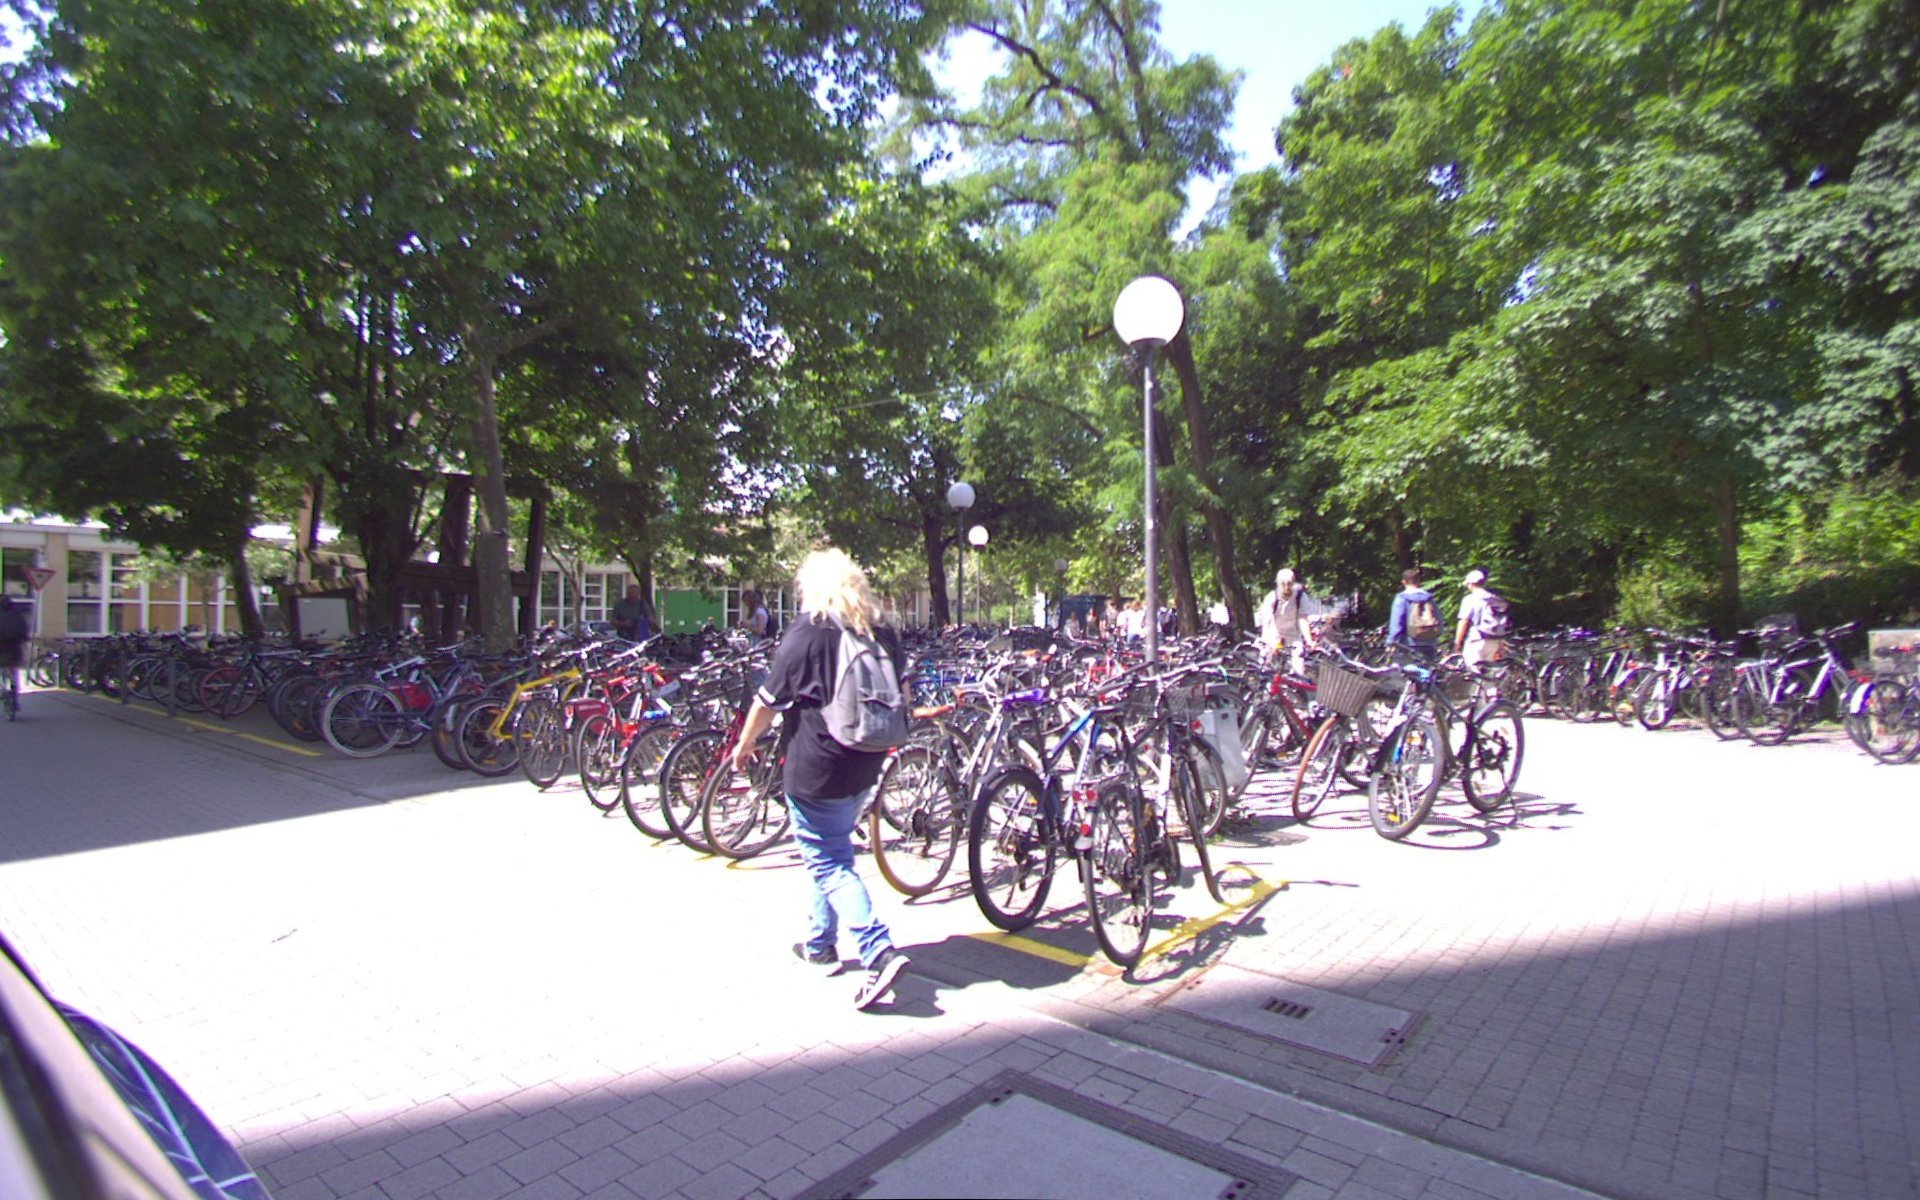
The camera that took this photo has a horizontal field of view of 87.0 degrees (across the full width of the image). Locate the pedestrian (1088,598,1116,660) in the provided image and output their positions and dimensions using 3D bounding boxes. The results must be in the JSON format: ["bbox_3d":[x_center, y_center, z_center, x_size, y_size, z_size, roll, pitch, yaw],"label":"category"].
[{"bbox_3d":[4.157,0.849,29.761,0.761,1.788,0.905,-1,-1,7],"label":"pedestrian"}]

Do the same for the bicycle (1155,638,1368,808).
[{"bbox_3d":[2.243,0.854,7.461,1.670,1.092,0.475,0,0,-30],"label":"bicycle"}]

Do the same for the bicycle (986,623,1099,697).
[{"bbox_3d":[1.280,0.919,15.742,1.671,1.092,0.475,0,0,-14],"label":"bicycle"}]

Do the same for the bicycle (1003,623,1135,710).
[{"bbox_3d":[1.447,0.865,13.451,1.671,1.092,0.475,0,0,-14],"label":"bicycle"}]

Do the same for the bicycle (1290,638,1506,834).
[{"bbox_3d":[2.903,0.827,6.635,1.695,1.092,0.475,0,0,-35],"label":"bicycle"}]

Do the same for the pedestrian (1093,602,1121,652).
[{"bbox_3d":[5.361,0.977,36.892,0.765,1.788,0.900,-1,-1,22],"label":"pedestrian"}]

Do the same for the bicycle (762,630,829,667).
[{"bbox_3d":[-5.128,1.512,31.633,2.006,1.116,0.501,-1,0,8],"label":"bicycle"}]

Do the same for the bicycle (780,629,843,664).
[{"bbox_3d":[-4.894,1.536,33.435,2.010,1.116,0.500,-1,0,14],"label":"bicycle"}]

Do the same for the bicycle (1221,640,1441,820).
[{"bbox_3d":[2.620,0.851,7.077,1.670,1.092,0.475,0,0,-30],"label":"bicycle"}]

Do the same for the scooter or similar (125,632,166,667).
[{"bbox_3d":[-29.827,1.800,37.056,0.289,1.235,1.142,-2,-2,43],"label":"scooter or similar"}]

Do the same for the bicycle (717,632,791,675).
[{"bbox_3d":[-5.476,1.412,26.967,1.886,1.116,0.501,-1,0,11],"label":"bicycle"}]

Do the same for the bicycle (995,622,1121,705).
[{"bbox_3d":[1.369,0.876,14.163,1.671,1.092,0.475,0,0,-14],"label":"bicycle"}]

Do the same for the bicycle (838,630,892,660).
[{"bbox_3d":[-3.611,1.699,38.577,2.010,1.116,0.500,-1,0,14],"label":"bicycle"}]

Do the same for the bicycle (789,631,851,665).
[{"bbox_3d":[-4.695,1.606,33.939,2.010,1.116,0.500,-1,0,14],"label":"bicycle"}]

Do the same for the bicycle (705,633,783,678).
[{"bbox_3d":[-5.497,1.416,25.771,1.886,1.116,0.501,-1,0,11],"label":"bicycle"}]

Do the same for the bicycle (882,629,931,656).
[{"bbox_3d":[-2.253,1.771,42.242,2.016,1.116,0.499,-1,0,22],"label":"bicycle"}]

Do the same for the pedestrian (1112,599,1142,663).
[{"bbox_3d":[4.739,0.876,28.784,0.761,1.788,0.905,-1,-1,7],"label":"pedestrian"}]

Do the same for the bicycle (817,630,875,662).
[{"bbox_3d":[-4.064,1.639,36.184,2.010,1.116,0.500,-1,0,14],"label":"bicycle"}]

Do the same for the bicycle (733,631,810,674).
[{"bbox_3d":[-5.112,1.417,27.448,1.983,1.116,0.501,-1,0,11],"label":"bicycle"}]

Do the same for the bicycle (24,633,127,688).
[{"bbox_3d":[-18.963,1.292,21.717,0.496,1.116,1.608,-4,-3,40],"label":"bicycle"}]

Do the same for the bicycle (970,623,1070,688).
[{"bbox_3d":[1.044,0.957,17.640,1.673,1.092,0.475,-1,0,-7],"label":"bicycle"}]

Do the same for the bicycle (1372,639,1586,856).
[{"bbox_3d":[3.205,0.827,6.186,1.672,1.118,0.475,0,0,-37],"label":"bicycle"}]

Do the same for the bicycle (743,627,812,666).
[{"bbox_3d":[-5.403,1.366,29.981,1.983,1.116,0.501,-1,0,11],"label":"bicycle"}]

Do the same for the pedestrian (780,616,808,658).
[{"bbox_3d":[-6.775,1.511,41.217,0.727,1.697,0.863,-2,-2,37],"label":"pedestrian"}]

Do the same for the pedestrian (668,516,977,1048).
[{"bbox_3d":[-0.456,0.583,3.691,0.897,1.692,0.767,-1,0,11],"label":"pedestrian"}]

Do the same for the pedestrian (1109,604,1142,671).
[{"bbox_3d":[4.267,0.956,26.150,0.761,1.692,0.905,-1,-1,7],"label":"pedestrian"}]

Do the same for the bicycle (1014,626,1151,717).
[{"bbox_3d":[1.569,0.898,12.971,1.671,1.092,0.475,0,0,-14],"label":"bicycle"}]

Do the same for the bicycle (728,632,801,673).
[{"bbox_3d":[-5.533,1.480,28.632,1.983,1.116,0.501,-1,0,11],"label":"bicycle"}]

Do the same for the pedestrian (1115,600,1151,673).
[{"bbox_3d":[4.139,0.864,24.294,0.761,1.692,0.905,-1,-1,7],"label":"pedestrian"}]

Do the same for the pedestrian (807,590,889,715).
[{"bbox_3d":[-1.597,0.727,14.475,0.902,1.716,0.763,-1,-1,26],"label":"pedestrian"}]

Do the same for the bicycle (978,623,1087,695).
[{"bbox_3d":[1.160,0.934,16.241,1.671,1.092,0.475,0,0,-14],"label":"bicycle"}]

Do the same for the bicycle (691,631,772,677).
[{"bbox_3d":[-5.663,1.329,25.111,1.884,1.116,0.502,-1,0,8],"label":"bicycle"}]

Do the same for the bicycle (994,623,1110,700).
[{"bbox_3d":[1.385,0.912,15.225,1.671,1.092,0.475,0,0,-14],"label":"bicycle"}]

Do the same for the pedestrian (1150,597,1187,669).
[{"bbox_3d":[4.984,0.784,24.208,0.761,1.692,0.905,-1,-1,7],"label":"pedestrian"}]

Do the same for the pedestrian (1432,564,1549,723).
[{"bbox_3d":[6.326,0.498,12.119,0.757,1.817,0.986,-1,-1,-11],"label":"pedestrian"}]

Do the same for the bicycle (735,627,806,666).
[{"bbox_3d":[-5.513,1.346,29.396,1.983,1.116,0.501,-1,0,11],"label":"bicycle"}]

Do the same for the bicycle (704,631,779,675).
[{"bbox_3d":[-5.689,1.385,26.357,1.886,1.116,0.501,-1,0,11],"label":"bicycle"}]

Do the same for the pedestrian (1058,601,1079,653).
[{"bbox_3d":[3.777,0.941,35.261,0.501,1.784,0.664,-1,-1,30],"label":"pedestrian"}]

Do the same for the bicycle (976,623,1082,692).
[{"bbox_3d":[1.148,0.945,16.854,1.671,1.092,0.475,0,0,-14],"label":"bicycle"}]

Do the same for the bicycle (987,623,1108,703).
[{"bbox_3d":[1.265,0.897,14.641,1.671,1.092,0.475,0,0,-14],"label":"bicycle"}]

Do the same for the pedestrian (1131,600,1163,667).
[{"bbox_3d":[5.088,0.911,27.612,0.761,1.788,0.905,-1,-1,7],"label":"pedestrian"}]

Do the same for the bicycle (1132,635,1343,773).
[{"bbox_3d":[2.367,0.869,8.672,1.672,1.092,0.475,-1,0,-8],"label":"bicycle"}]

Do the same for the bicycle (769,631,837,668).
[{"bbox_3d":[-4.828,1.519,31.057,2.006,1.116,0.501,-1,0,8],"label":"bicycle"}]

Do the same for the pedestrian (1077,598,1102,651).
[{"bbox_3d":[4.462,0.845,34.823,0.608,1.788,0.652,-1,-1,33],"label":"pedestrian"}]

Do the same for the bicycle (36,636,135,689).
[{"bbox_3d":[-19.449,1.376,22.525,0.496,1.116,1.608,-4,-3,40],"label":"bicycle"}]

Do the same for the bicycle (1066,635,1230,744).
[{"bbox_3d":[2.024,0.945,10.937,1.672,1.092,0.475,-1,0,-11],"label":"bicycle"}]

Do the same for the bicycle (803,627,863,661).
[{"bbox_3d":[-4.416,1.522,35.093,2.010,1.116,0.500,-1,0,14],"label":"bicycle"}]

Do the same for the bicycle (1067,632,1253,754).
[{"bbox_3d":[1.917,0.873,9.753,1.672,1.092,0.475,-1,0,-8],"label":"bicycle"}]

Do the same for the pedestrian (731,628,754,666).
[{"bbox_3d":[-8.929,1.929,41.550,0.567,1.531,0.834,-1,-1,23],"label":"pedestrian"}]

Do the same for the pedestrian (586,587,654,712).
[{"bbox_3d":[-5.094,0.723,15.190,0.701,1.820,0.768,-1,-1,7],"label":"pedestrian"}]

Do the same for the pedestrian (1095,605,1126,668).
[{"bbox_3d":[4.102,0.991,27.624,0.761,1.692,0.905,-1,-1,7],"label":"pedestrian"}]

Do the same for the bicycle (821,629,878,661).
[{"bbox_3d":[-4.036,1.641,37.022,2.010,1.116,0.500,-1,0,14],"label":"bicycle"}]

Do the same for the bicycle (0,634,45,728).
[{"bbox_3d":[-13.306,1.086,13.890,2.105,1.159,0.764,0,0,38],"label":"bicycle"}]

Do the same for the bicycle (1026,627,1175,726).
[{"bbox_3d":[1.648,0.878,11.890,1.671,1.092,0.475,0,0,-14],"label":"bicycle"}]

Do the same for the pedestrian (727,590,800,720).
[{"bbox_3d":[-2.715,0.732,13.928,0.891,1.716,0.772,-1,-1,-17],"label":"pedestrian"}]

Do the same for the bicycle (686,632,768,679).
[{"bbox_3d":[-5.651,1.340,24.563,1.884,1.116,0.502,-1,0,8],"label":"bicycle"}]

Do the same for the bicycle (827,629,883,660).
[{"bbox_3d":[-3.897,1.645,37.636,2.010,1.116,0.500,-1,0,14],"label":"bicycle"}]

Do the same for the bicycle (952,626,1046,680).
[{"bbox_3d":[0.716,0.977,18.805,1.716,0.969,0.452,-1,0,2],"label":"bicycle"}]

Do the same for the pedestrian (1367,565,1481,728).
[{"bbox_3d":[5.434,0.529,11.903,0.821,1.829,0.884,-1,-1,-10],"label":"pedestrian"}]
